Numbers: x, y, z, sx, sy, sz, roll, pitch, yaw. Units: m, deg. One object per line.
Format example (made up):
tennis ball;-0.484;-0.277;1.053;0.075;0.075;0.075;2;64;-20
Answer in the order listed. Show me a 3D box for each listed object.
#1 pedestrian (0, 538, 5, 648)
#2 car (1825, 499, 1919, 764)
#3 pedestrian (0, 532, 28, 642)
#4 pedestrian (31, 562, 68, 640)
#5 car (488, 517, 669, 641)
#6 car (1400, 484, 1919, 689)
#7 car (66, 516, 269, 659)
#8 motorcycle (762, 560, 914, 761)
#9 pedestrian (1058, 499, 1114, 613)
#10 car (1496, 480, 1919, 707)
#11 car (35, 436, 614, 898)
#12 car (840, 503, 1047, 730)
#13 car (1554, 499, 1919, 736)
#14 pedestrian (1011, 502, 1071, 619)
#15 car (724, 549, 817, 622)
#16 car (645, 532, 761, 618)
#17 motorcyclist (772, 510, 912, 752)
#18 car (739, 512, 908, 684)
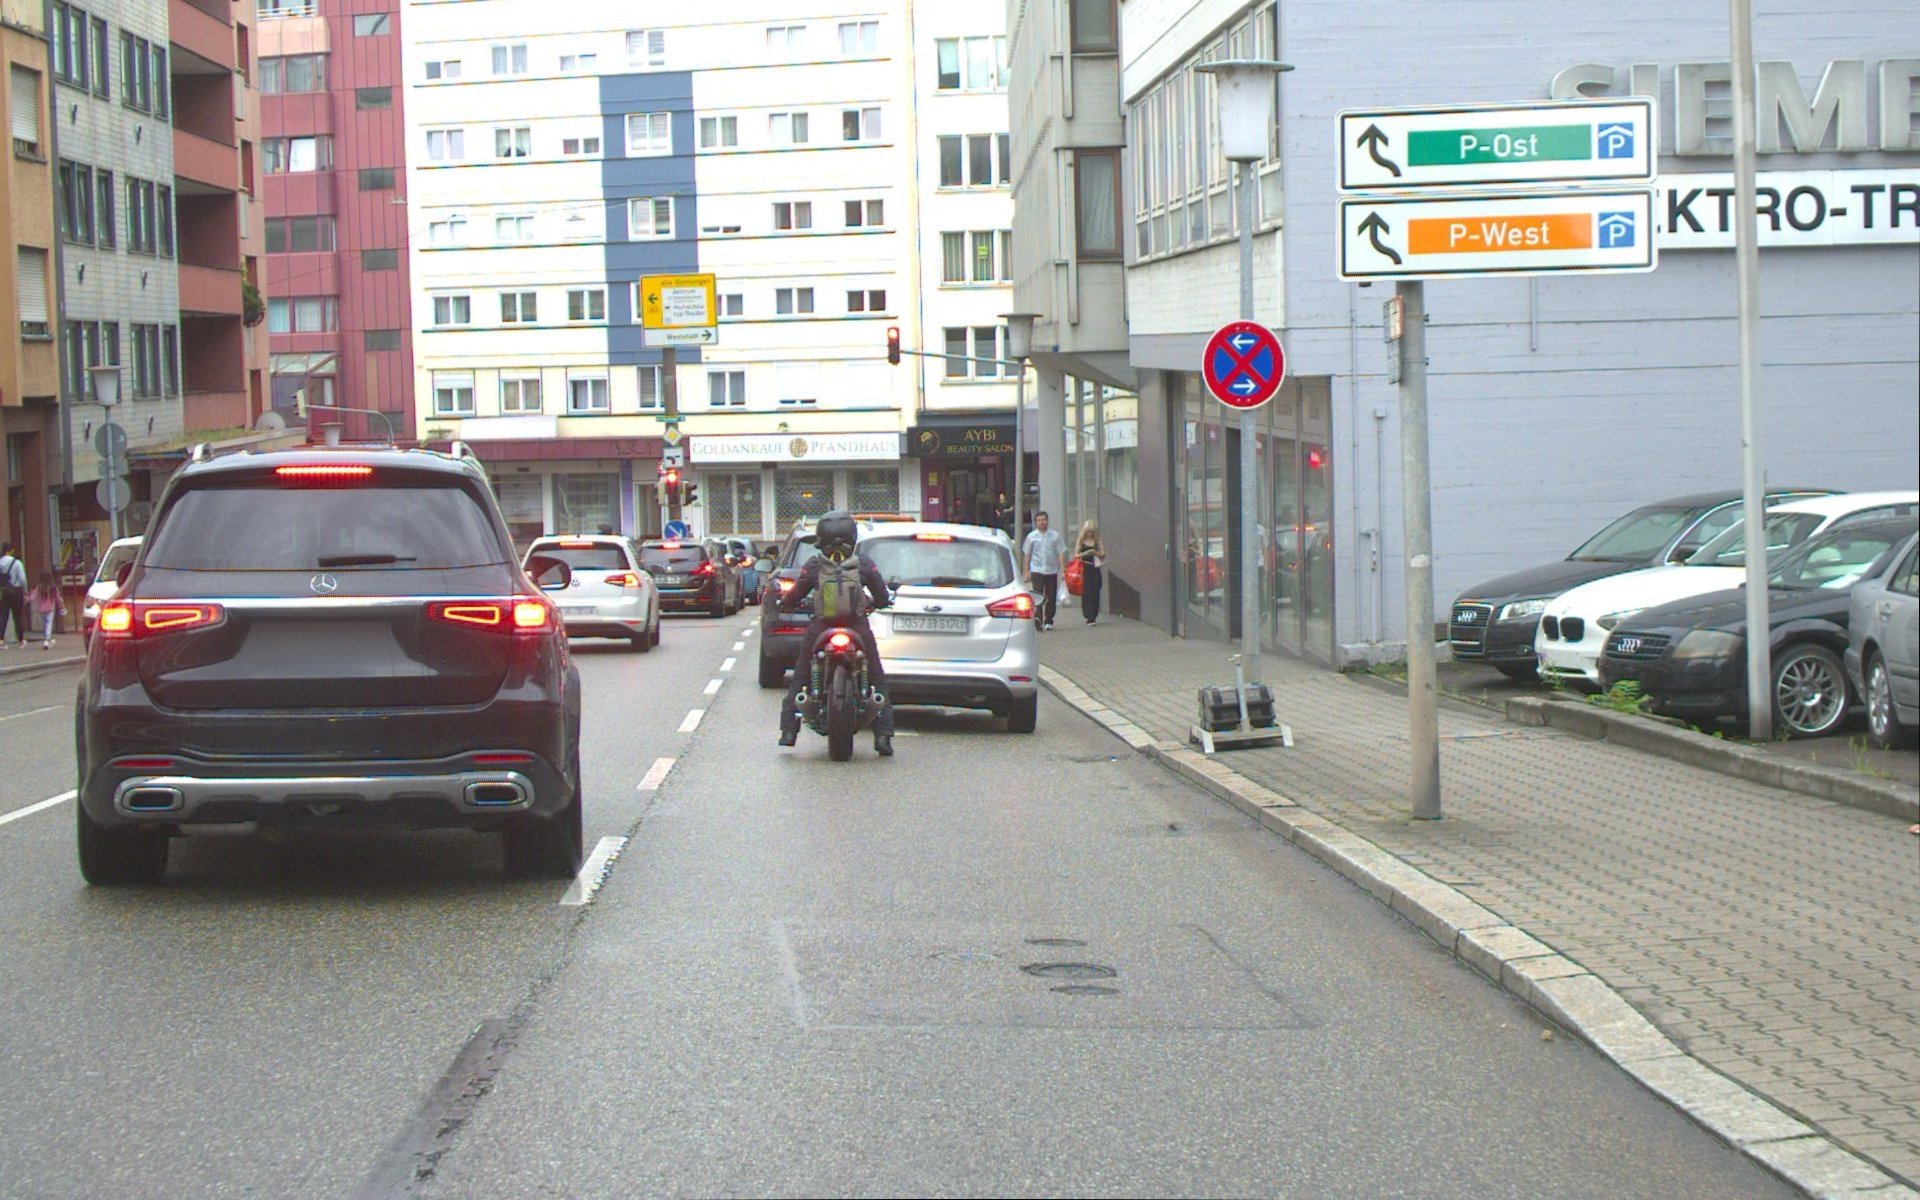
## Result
pedestrian;-14.992;-0.099;52.310;0.739;1.646;0.606;-1;5;-5
car;6.130;0.182;18.941;1.565;1.472;4.070;0;1;-2
pedestrian;-14.838;-0.200;53.169;0.671;1.646;0.606;-1;5;-5
pedestrian;-14.172;0.011;53.525;0.425;1.158;0.587;-1;5;-5
car;-4.825;-0.308;43.970;1.885;1.497;4.399;1;1;-1
car;5.815;-0.098;28.210;3.986;1.592;1.800;0;0;-20
car;-10.780;-0.214;47.048;1.869;1.747;4.400;-3;2;-3
motorcycle;-0.833;0.362;22.720;0.867;1.182;2.562;-1;2;-5
pedestrian;1.813;-0.642;49.520;0.717;1.606;0.611;-1;3;-5
car;6.210;-0.042;25.662;3.986;1.592;1.800;0;0;-20
car;-2.650;0.205;15.441;2.020;1.733;4.748;1;1;-4
car;-0.173;0.078;26.960;1.416;1.645;3.108;-1;2;-4
car;6.188;0.115;23.114;3.986;1.489;1.733;0;0;-20
pedestrian;1.141;-0.560;48.586;0.769;1.606;0.704;-1;3;-5
car;-4.191;-0.347;76.432;1.885;1.497;4.399;1;1;-1
car;-4.729;-0.489;63.786;1.885;1.497;4.399;1;1;-1
motorcyclist;-0.786;0.197;22.699;0.866;1.555;0.764;-1;0;-5
car;-1.356;-0.058;33.207;1.522;1.543;3.108;-1;2;-4
